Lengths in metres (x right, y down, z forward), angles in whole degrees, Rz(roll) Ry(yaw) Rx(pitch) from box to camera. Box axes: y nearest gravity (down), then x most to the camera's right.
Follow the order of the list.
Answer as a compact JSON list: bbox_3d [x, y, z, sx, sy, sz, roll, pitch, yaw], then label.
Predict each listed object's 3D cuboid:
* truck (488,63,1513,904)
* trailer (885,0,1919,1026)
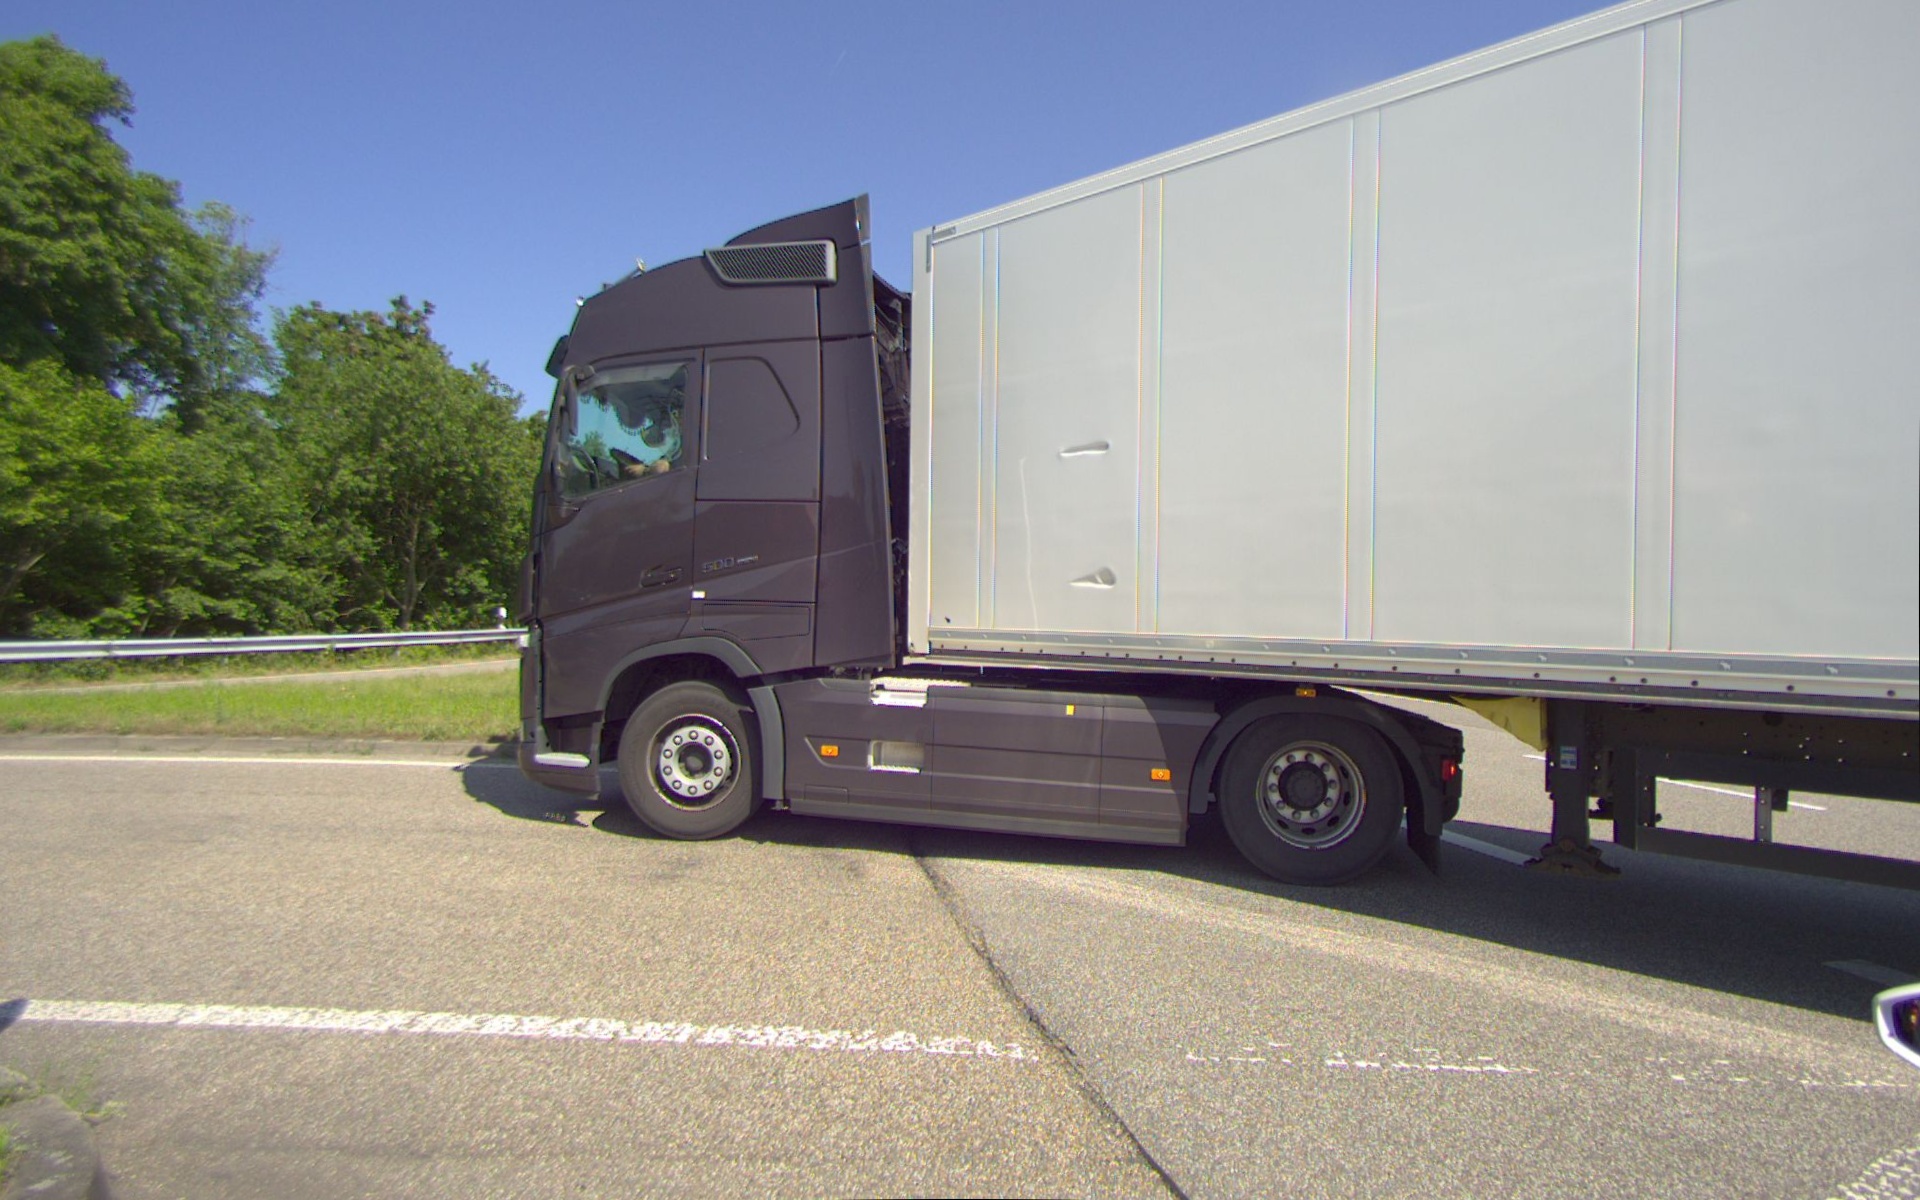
[{"bbox_3d":[0.219,-0.611,7.108,5.849,4.229,2.881,1,0,13],"label":"truck"},{"bbox_3d":[5.544,-0.595,3.505,13.779,4.221,2.881,0,0,42],"label":"trailer"}]
